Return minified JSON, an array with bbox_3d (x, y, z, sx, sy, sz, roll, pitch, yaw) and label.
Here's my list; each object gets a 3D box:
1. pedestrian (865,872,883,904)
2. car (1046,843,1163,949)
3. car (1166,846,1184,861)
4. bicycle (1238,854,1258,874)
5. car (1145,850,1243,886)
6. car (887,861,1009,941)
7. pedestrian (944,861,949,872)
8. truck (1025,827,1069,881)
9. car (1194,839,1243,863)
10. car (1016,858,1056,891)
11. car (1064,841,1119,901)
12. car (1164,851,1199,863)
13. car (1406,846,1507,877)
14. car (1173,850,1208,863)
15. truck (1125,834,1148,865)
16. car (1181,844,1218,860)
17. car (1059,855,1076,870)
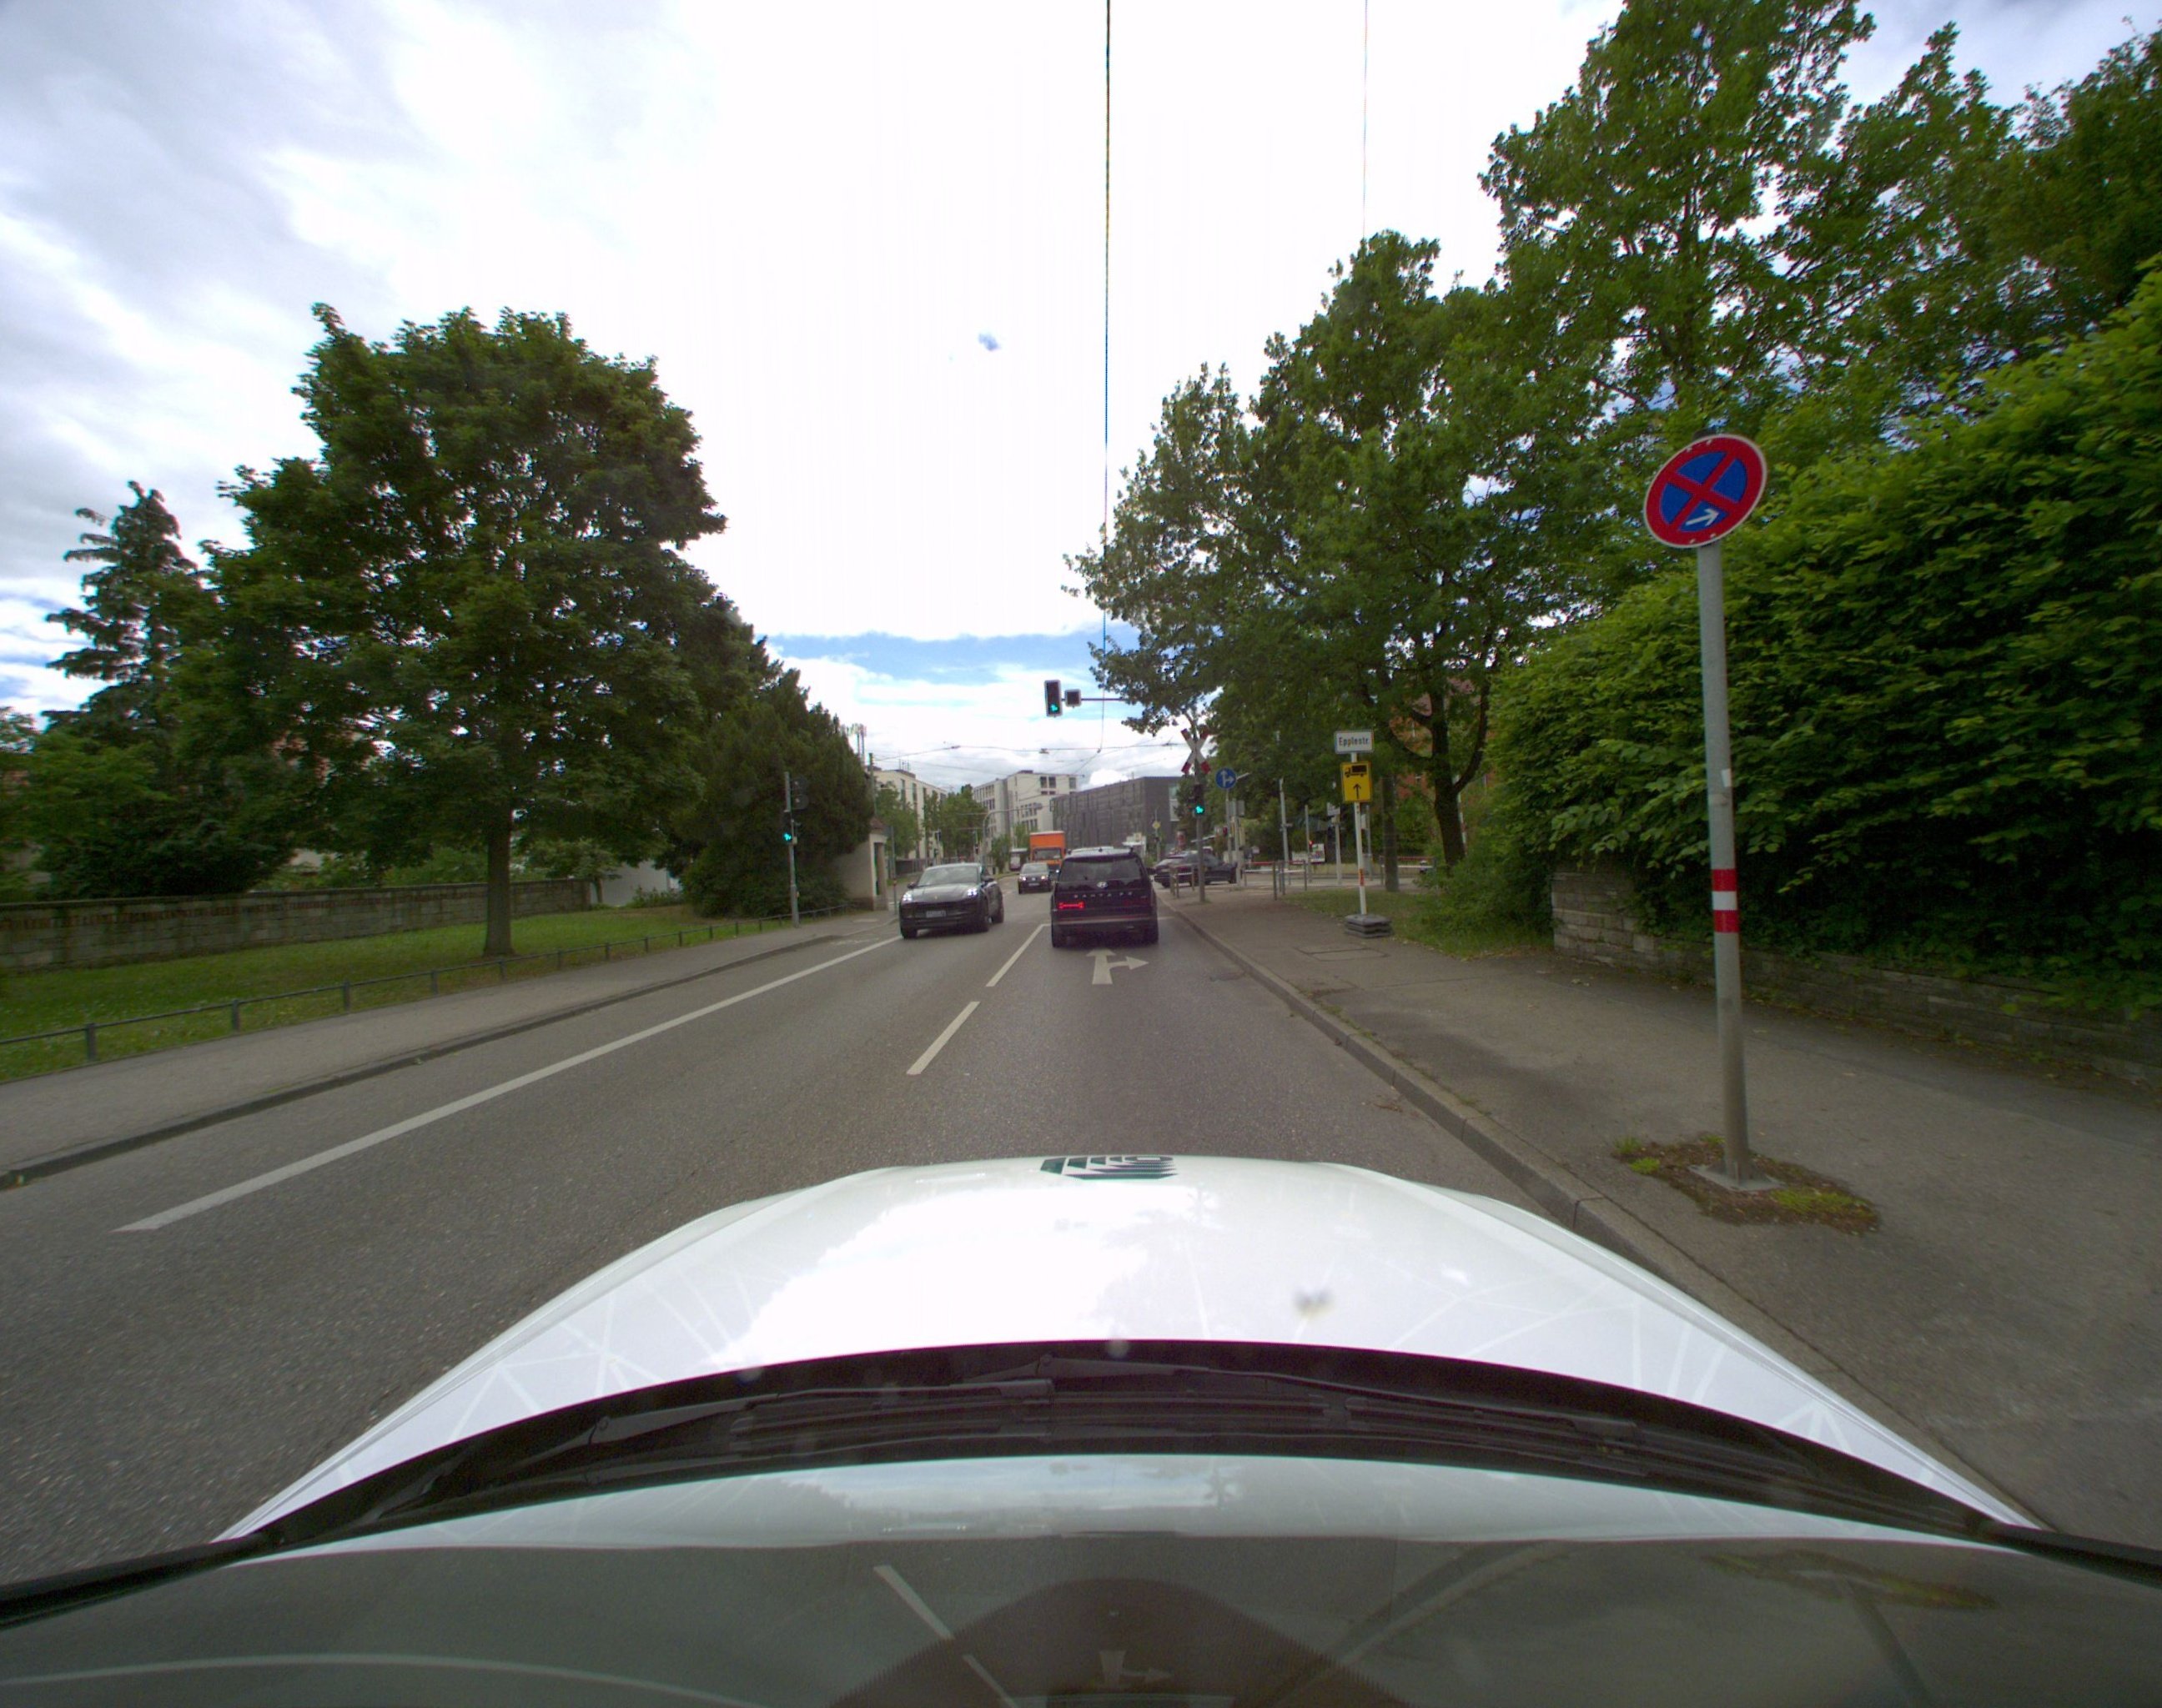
[{"bbox_3d":[-11.277,1.848,44.312,0.673,1.644,0.818,-4,2,-4],"label":"pedestrian"},{"bbox_3d":[0.369,0.696,15.600,1.909,1.725,4.168,-1,0,-1],"label":"car"},{"bbox_3d":[13.268,-0.062,114.922,1.986,1.838,4.519,-4,-1,1],"label":"car"},{"bbox_3d":[10.463,0.609,51.053,0.548,1.138,1.871,-2,3,-11],"label":"bicycle"},{"bbox_3d":[5.200,0.636,37.066,4.545,1.463,1.975,-2,-1,-43],"label":"car"},{"bbox_3d":[-3.032,1.018,19.590,1.932,1.531,4.527,-5,0,1],"label":"car"},{"bbox_3d":[-20.333,1.876,123.335,0.611,1.694,0.785,-2,-1,1],"label":"pedestrian"},{"bbox_3d":[-2.523,0.029,63.286,2.760,3.718,8.467,-5,0,0],"label":"truck"},{"bbox_3d":[11.372,-0.238,67.062,1.827,1.748,4.726,-3,0,39],"label":"car"},{"bbox_3d":[-2.213,0.990,40.801,1.658,1.449,3.827,-3,0,1],"label":"car"},{"bbox_3d":[0.390,0.599,31.126,1.849,2.033,4.437,-3,0,0],"label":"car"},{"bbox_3d":[12.397,0.380,100.480,3.808,1.474,1.784,-1,-1,-24],"label":"car"},{"bbox_3d":[19.773,0.377,42.937,4.503,1.463,1.994,-2,-1,-9],"label":"car"},{"bbox_3d":[12.775,0.310,95.074,3.814,1.474,1.781,0,-1,-29],"label":"car"},{"bbox_3d":[6.839,-0.550,101.546,2.563,3.525,7.816,-3,0,3],"label":"truck"},{"bbox_3d":[13.025,-0.203,89.222,3.658,1.435,1.578,-4,-1,-26],"label":"car"},{"bbox_3d":[-1.617,0.957,97.663,1.782,1.661,4.278,-4,0,1],"label":"car"}]
